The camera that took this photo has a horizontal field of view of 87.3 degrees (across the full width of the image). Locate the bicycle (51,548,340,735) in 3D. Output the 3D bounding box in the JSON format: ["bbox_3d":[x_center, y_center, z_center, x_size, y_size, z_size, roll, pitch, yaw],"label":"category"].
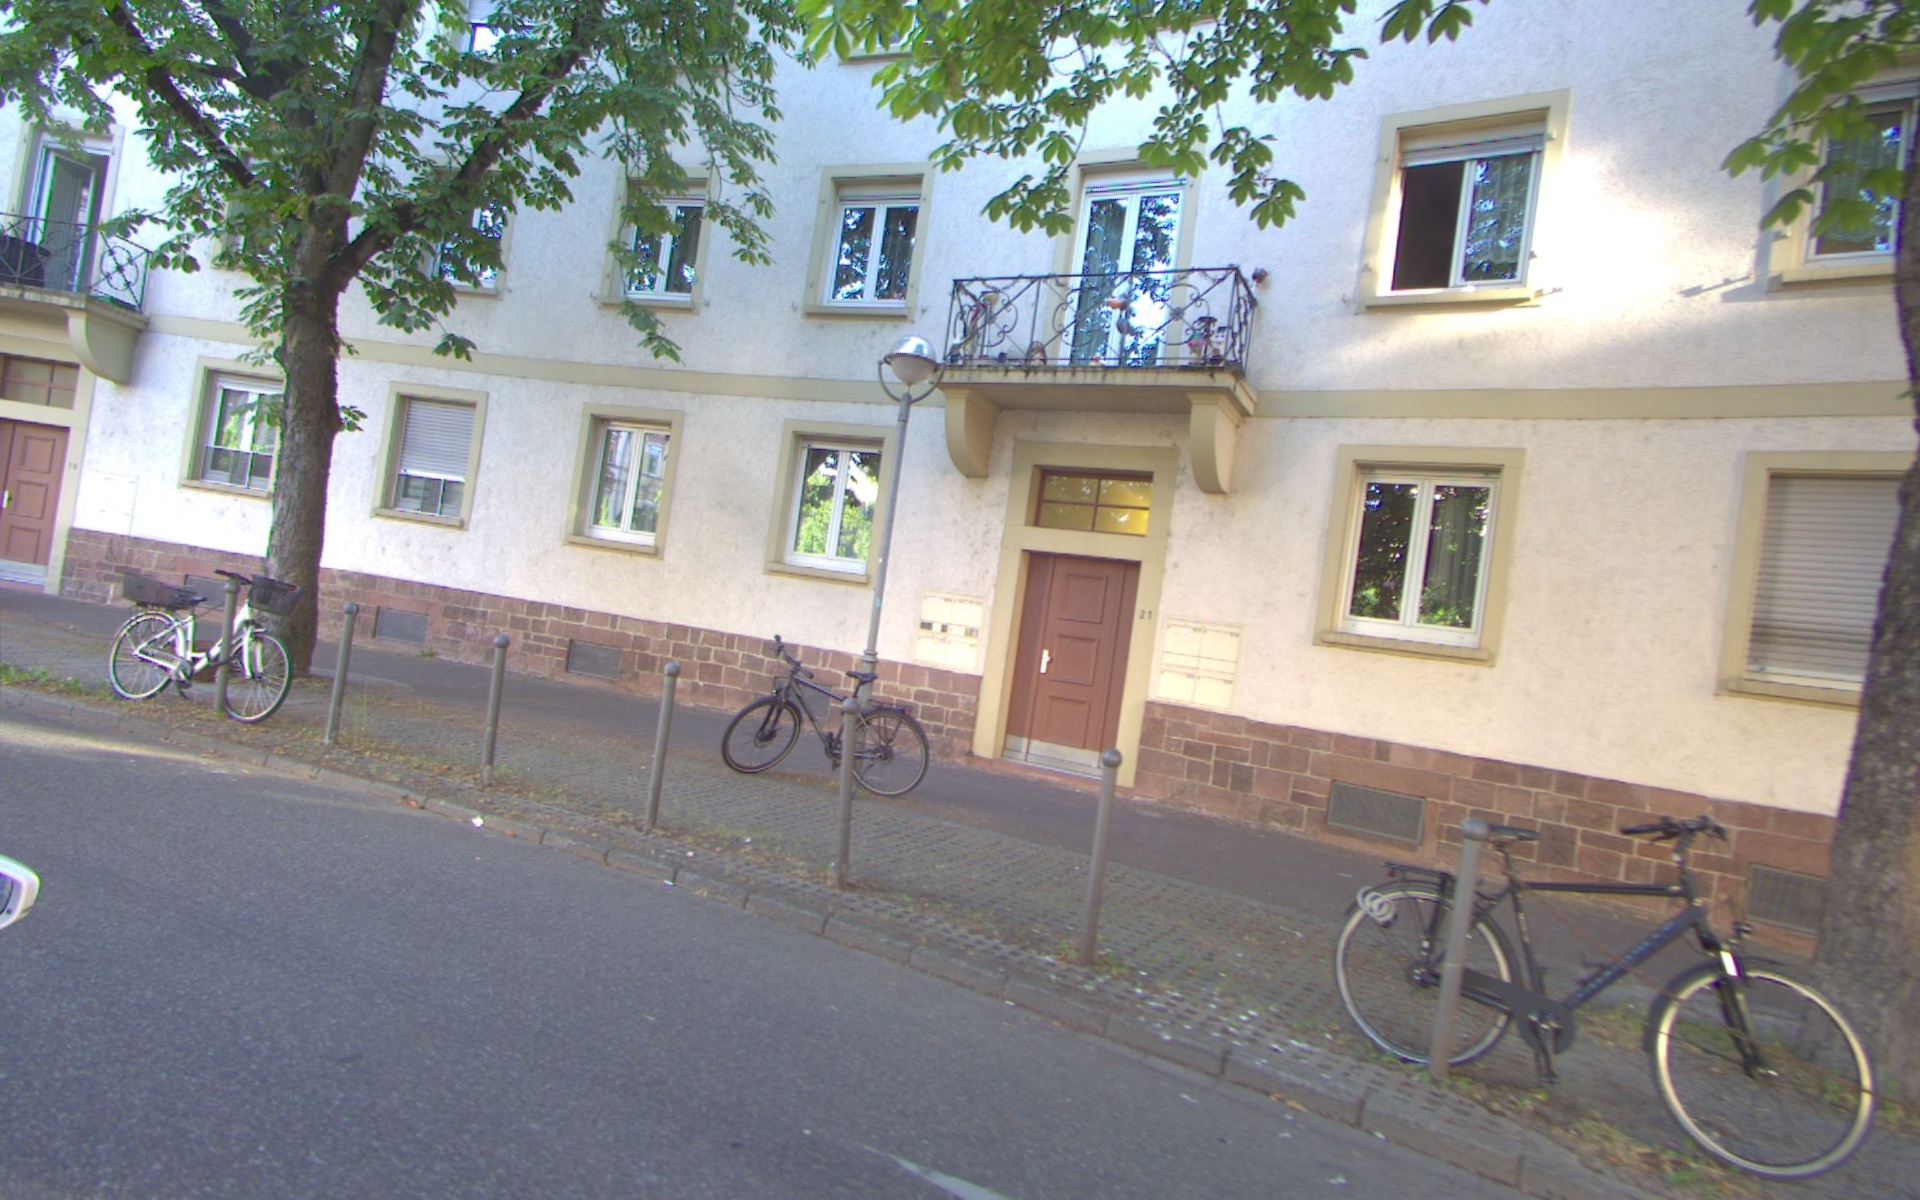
[{"bbox_3d":[-5.960,0.299,7.851,1.954,1.127,0.618,8,2,13],"label":"bicycle"}]

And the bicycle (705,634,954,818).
[{"bbox_3d":[-1.021,0.981,8.123,1.787,1.197,0.673,7,1,4],"label":"bicycle"}]

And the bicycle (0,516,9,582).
[{"bbox_3d":[-12.180,-0.567,11.510,2.077,1.127,0.584,8,0,6],"label":"bicycle"}]

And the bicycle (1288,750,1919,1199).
[{"bbox_3d":[2.383,1.330,3.769,1.969,1.172,0.680,7,-1,33],"label":"bicycle"}]
